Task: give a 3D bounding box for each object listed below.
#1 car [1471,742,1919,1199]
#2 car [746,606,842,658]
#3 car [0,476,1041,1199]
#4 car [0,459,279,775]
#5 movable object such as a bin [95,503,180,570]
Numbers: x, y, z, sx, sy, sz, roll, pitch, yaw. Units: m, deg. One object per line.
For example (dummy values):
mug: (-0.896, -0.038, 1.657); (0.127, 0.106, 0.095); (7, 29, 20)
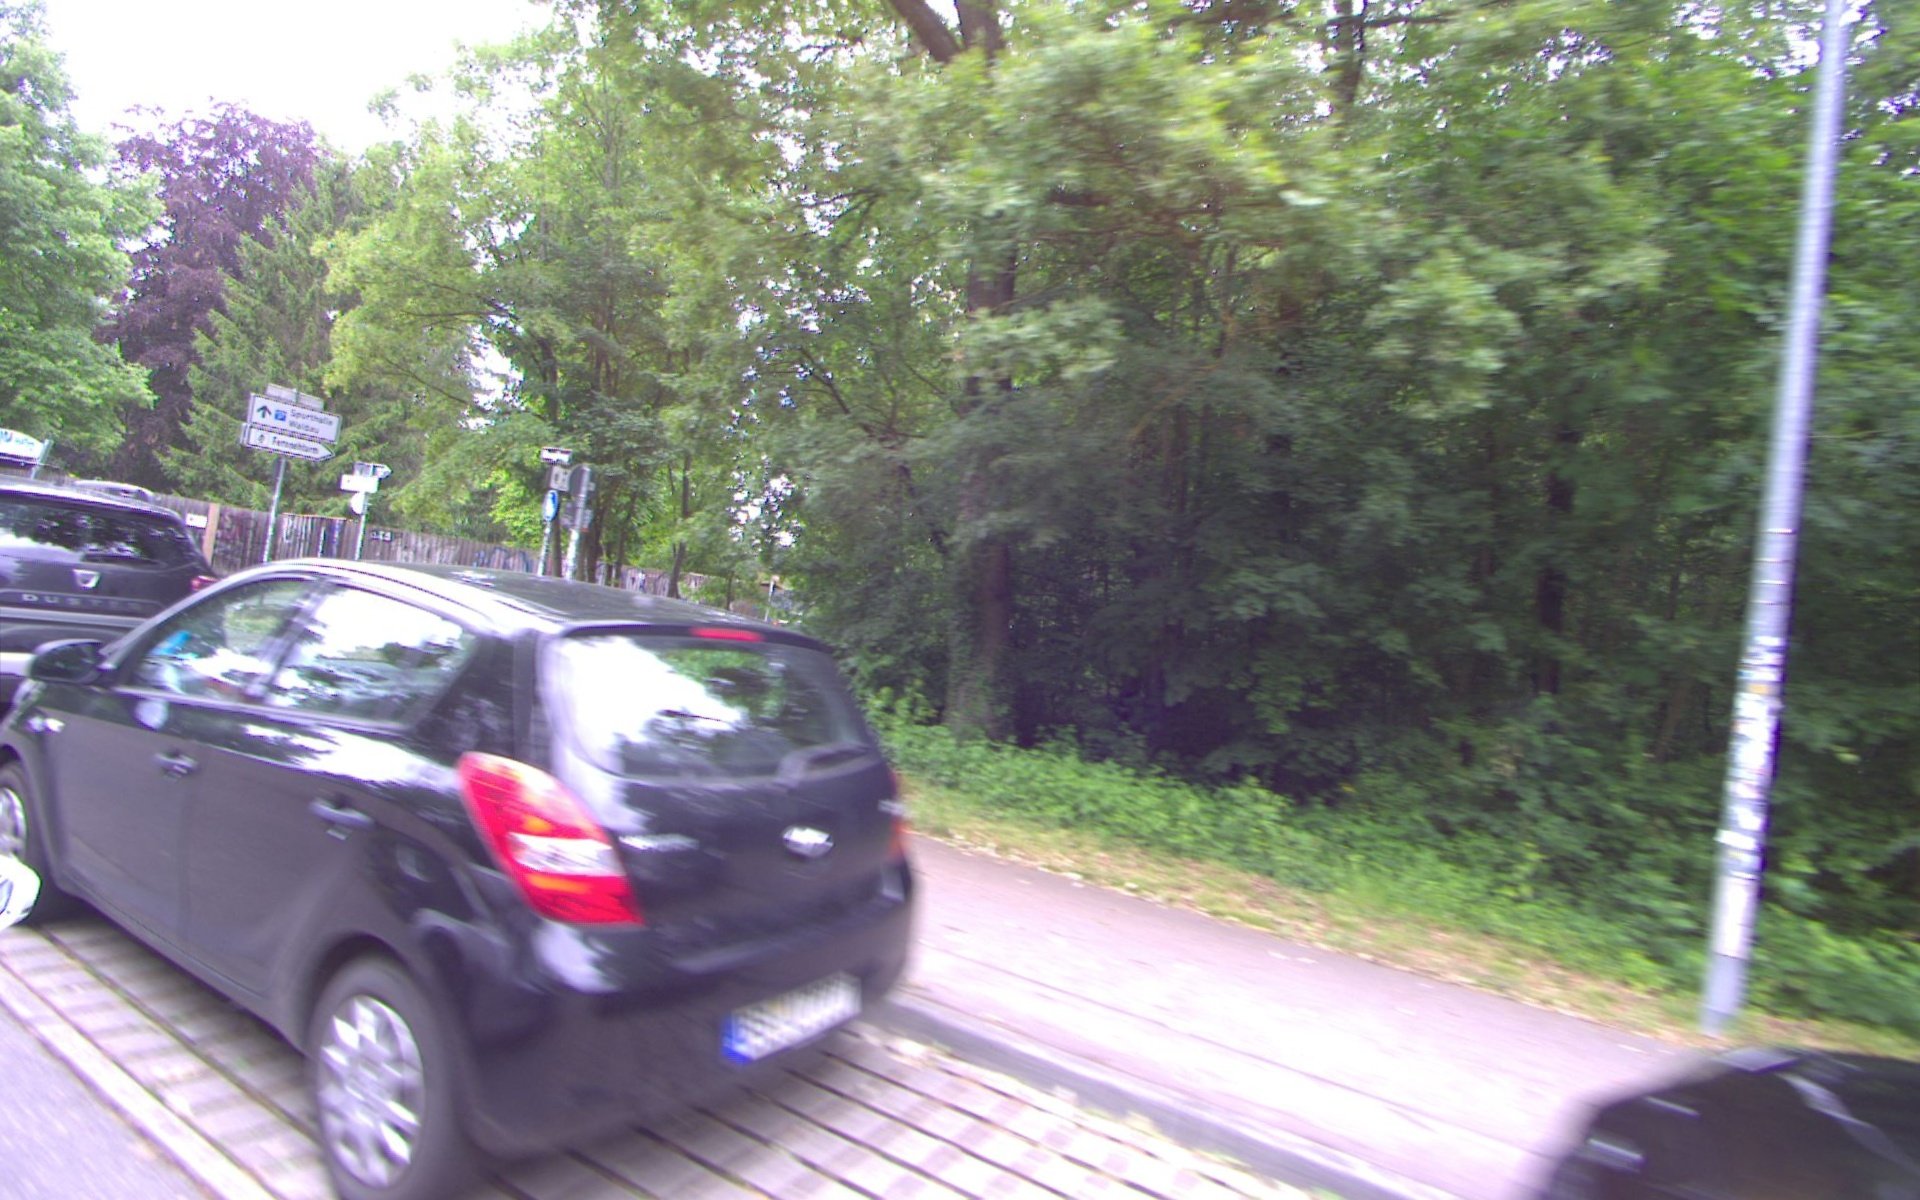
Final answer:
car: (2.909, 1.240, 0.830); (4.426, 1.448, 1.740); (7, -2, 31)
car: (-6.663, 1.335, 40.853); (1.879, 1.524, 4.004); (11, -1, 21)
car: (-2.029, 0.530, 3.710); (4.163, 1.512, 1.740); (7, -2, 31)
car: (-6.671, -0.083, 6.707); (4.302, 1.652, 1.740); (7, -2, 31)
movable object such as a bin: (-20.953, -1.592, 25.674); (1.062, 1.459, 1.283); (8, -2, -13)
